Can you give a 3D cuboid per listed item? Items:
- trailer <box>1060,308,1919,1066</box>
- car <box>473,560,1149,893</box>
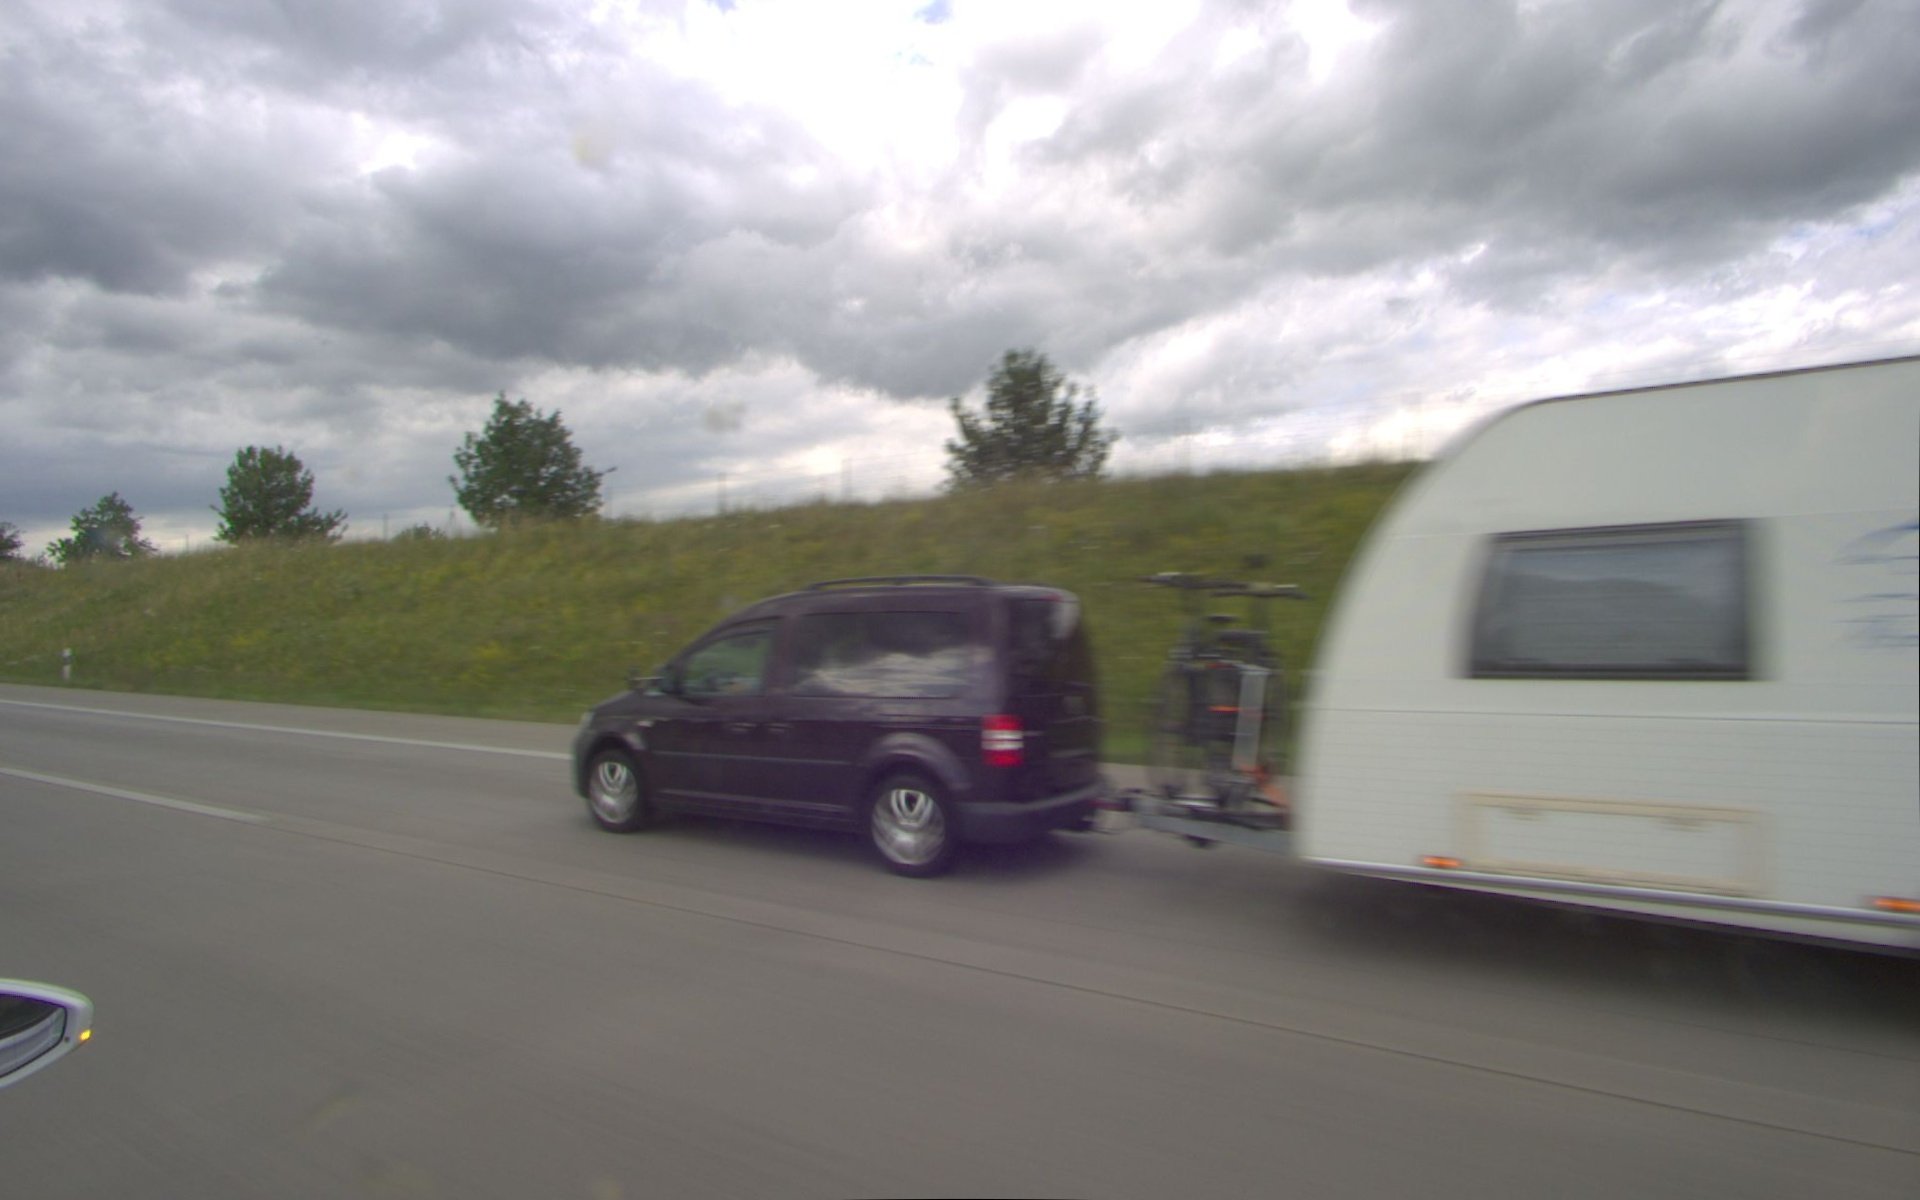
[{"bbox_3d":[4.001,0.318,4.460,6.622,2.567,2.605,-1,-1,30],"label":"trailer"},{"bbox_3d":[-1.262,0.766,7.601,4.956,1.833,1.937,-1,-1,29],"label":"car"}]
